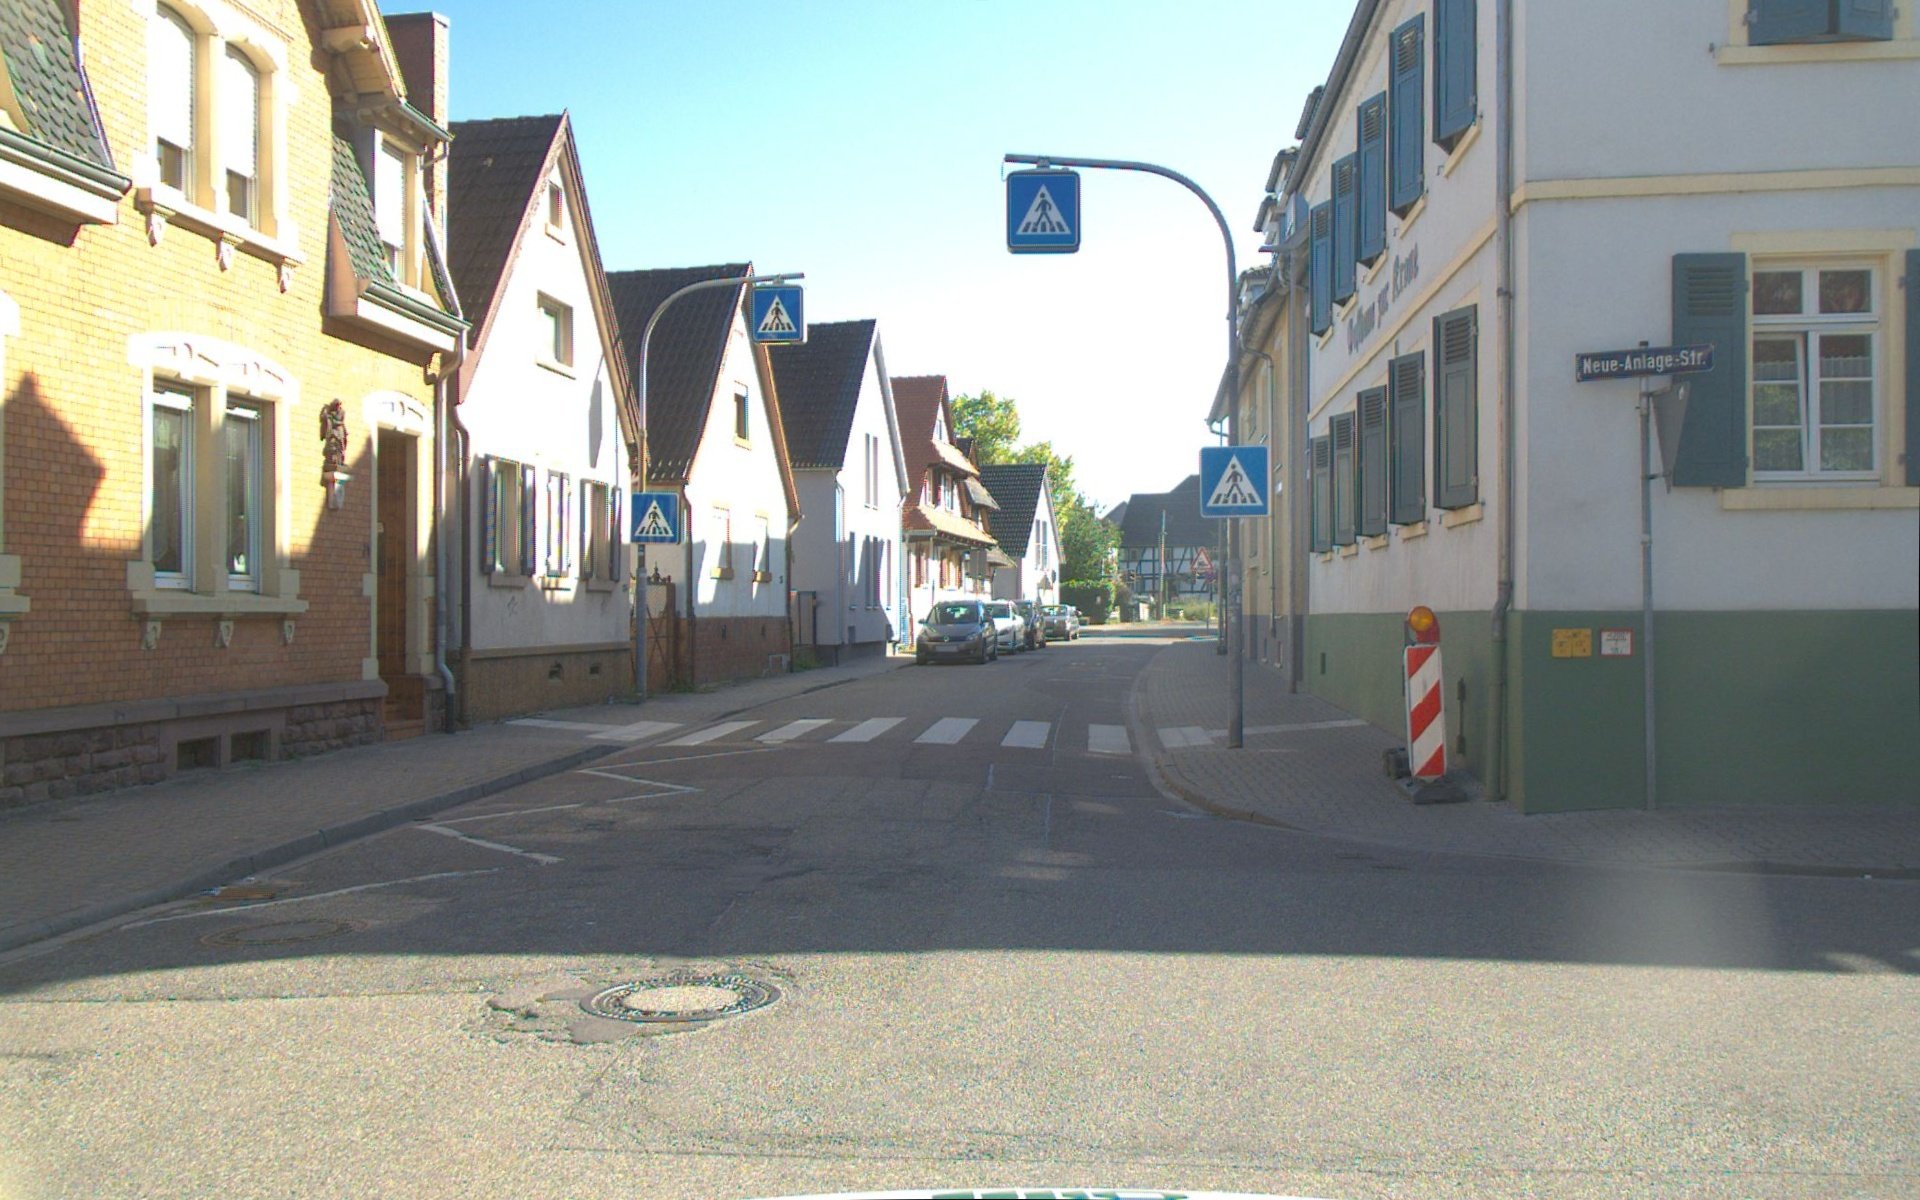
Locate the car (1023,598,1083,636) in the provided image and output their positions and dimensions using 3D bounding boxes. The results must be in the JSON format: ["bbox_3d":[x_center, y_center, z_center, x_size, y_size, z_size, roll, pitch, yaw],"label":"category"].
[{"bbox_3d":[3.783,0.671,66.414,1.805,1.431,5.040,-2,-1,10],"label":"car"}]

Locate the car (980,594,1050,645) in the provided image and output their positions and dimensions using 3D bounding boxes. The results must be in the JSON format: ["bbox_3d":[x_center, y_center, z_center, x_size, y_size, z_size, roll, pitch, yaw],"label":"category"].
[{"bbox_3d":[1.874,0.640,55.164,1.745,1.633,4.365,0,0,10],"label":"car"}]

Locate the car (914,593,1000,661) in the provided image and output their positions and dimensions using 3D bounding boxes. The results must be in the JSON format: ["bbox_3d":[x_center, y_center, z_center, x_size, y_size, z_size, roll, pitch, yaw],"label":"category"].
[{"bbox_3d":[-0.020,0.683,42.498,1.705,1.642,4.003,0,-1,7],"label":"car"}]

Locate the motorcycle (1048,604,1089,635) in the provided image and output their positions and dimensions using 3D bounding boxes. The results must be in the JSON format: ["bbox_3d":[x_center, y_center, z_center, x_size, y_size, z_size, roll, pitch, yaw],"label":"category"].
[{"bbox_3d":[4.579,0.818,69.898,0.620,1.253,1.969,-1,0,-35],"label":"motorcycle"}]

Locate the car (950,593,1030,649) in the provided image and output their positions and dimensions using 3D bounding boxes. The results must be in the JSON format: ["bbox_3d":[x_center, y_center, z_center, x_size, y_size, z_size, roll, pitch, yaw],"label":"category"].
[{"bbox_3d":[0.949,0.626,49.509,1.777,1.594,4.171,0,-1,10],"label":"car"}]
